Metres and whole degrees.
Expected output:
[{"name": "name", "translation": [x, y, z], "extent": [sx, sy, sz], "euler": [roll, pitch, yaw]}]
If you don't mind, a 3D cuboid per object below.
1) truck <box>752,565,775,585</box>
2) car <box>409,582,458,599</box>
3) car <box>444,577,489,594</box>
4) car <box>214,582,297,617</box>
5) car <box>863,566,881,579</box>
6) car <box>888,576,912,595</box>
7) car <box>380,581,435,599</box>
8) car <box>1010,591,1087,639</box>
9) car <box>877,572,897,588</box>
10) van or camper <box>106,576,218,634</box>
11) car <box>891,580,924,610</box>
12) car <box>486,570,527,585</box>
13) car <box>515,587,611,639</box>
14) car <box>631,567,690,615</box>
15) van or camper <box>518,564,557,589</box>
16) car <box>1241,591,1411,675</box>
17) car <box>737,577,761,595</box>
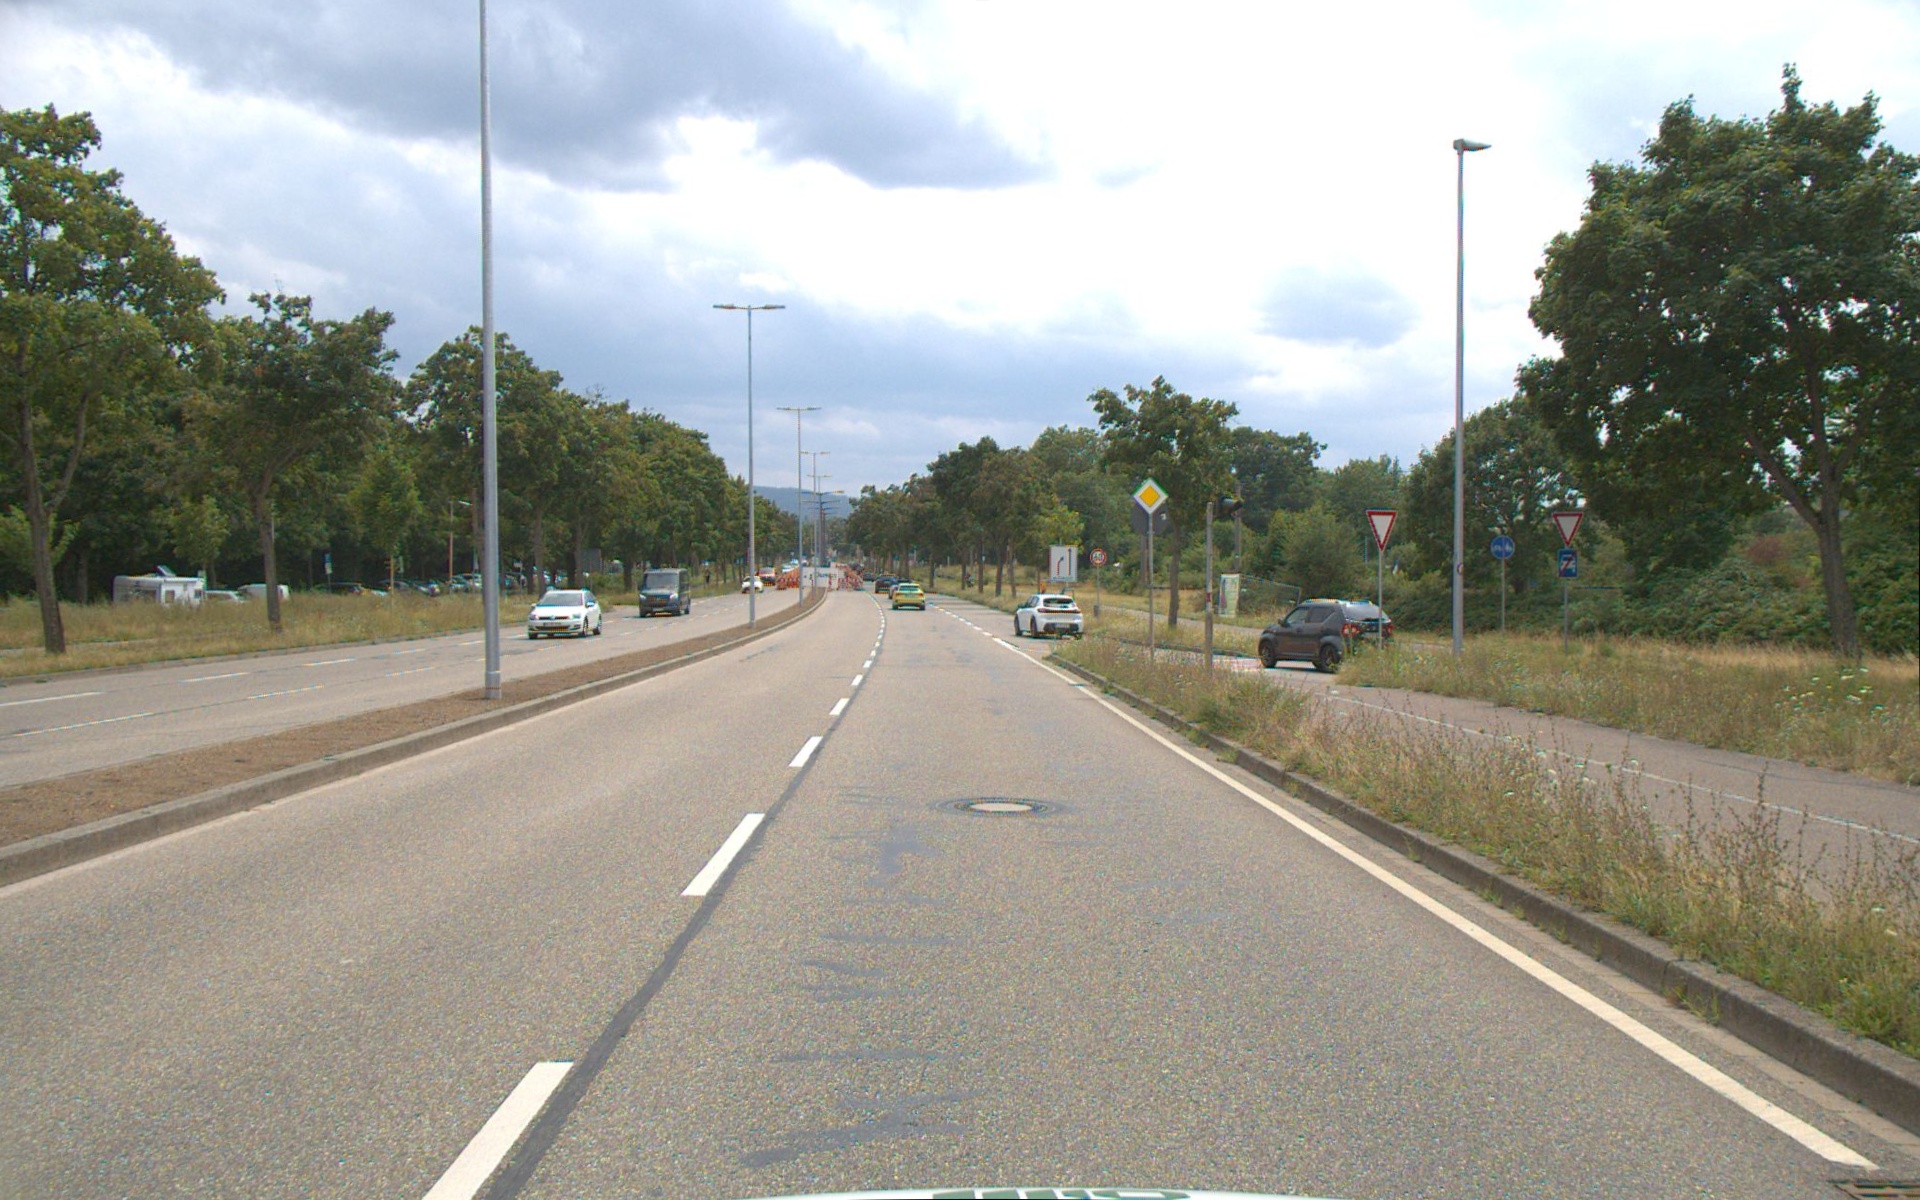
[{"name": "truck", "translation": [-21.594, -2.752, 181.893], "extent": [2.047, 2.029, 6.036], "euler": [-1, 2, -3]}, {"name": "car", "translation": [-44.533, -0.790, 139.978], "extent": [3.572, 1.384, 1.708], "euler": [0, 1, -2]}, {"name": "car", "translation": [-45.902, -1.372, 153.837], "extent": [3.575, 1.545, 1.882], "euler": [0, 1, -2]}, {"name": "car", "translation": [-40.095, -0.040, 94.182], "extent": [3.908, 1.920, 1.938], "euler": [0, 1, -4]}, {"name": "car", "translation": [-11.440, -3.573, 215.166], "extent": [2.162, 1.713, 3.999], "euler": [0, 2, -2]}, {"name": "car", "translation": [-4.318, -1.027, 118.718], "extent": [1.634, 1.292, 3.999], "euler": [0, 2, -3]}, {"name": "car", "translation": [-44.905, -0.826, 134.449], "extent": [3.906, 1.384, 1.667], "euler": [0, 1, -2]}, {"name": "car", "translation": [2.964, 0.480, 56.155], "extent": [1.735, 1.489, 3.991], "euler": [0, 2, -10]}, {"name": "car", "translation": [-6.230, -1.717, 141.365], "extent": [1.634, 1.292, 3.999], "euler": [0, 2, -3]}, {"name": "van or camper", "translation": [-38.524, 0.192, 80.105], "extent": [2.422, 2.585, 6.718], "euler": [0, 2, -3]}, {"name": "car", "translation": [-2.938, -0.293, 91.990], "extent": [1.757, 1.589, 3.999], "euler": [0, 2, -3]}, {"name": "car", "translation": [-46.912, -2.336, 170.979], "extent": [3.696, 1.450, 1.966], "euler": [0, 2, -2]}, {"name": "car", "translation": [-12.463, 0.367, 52.215], "extent": [1.953, 1.455, 4.688], "euler": [-1, 1, -1]}, {"name": "car", "translation": [-14.676, -0.497, 81.306], "extent": [2.053, 2.239, 6.001], "euler": [-1, 1, -3]}, {"name": "van or camper", "translation": [-47.780, -2.616, 187.101], "extent": [3.908, 2.804, 1.925], "euler": [0, 1, -4]}, {"name": "car", "translation": [8.220, 0.712, 37.501], "extent": [1.682, 1.697, 3.968], "euler": [1, 1, -25]}, {"name": "car", "translation": [-18.297, -1.237, 143.261], "extent": [1.682, 1.444, 4.158], "euler": [-2, 2, -2]}]
